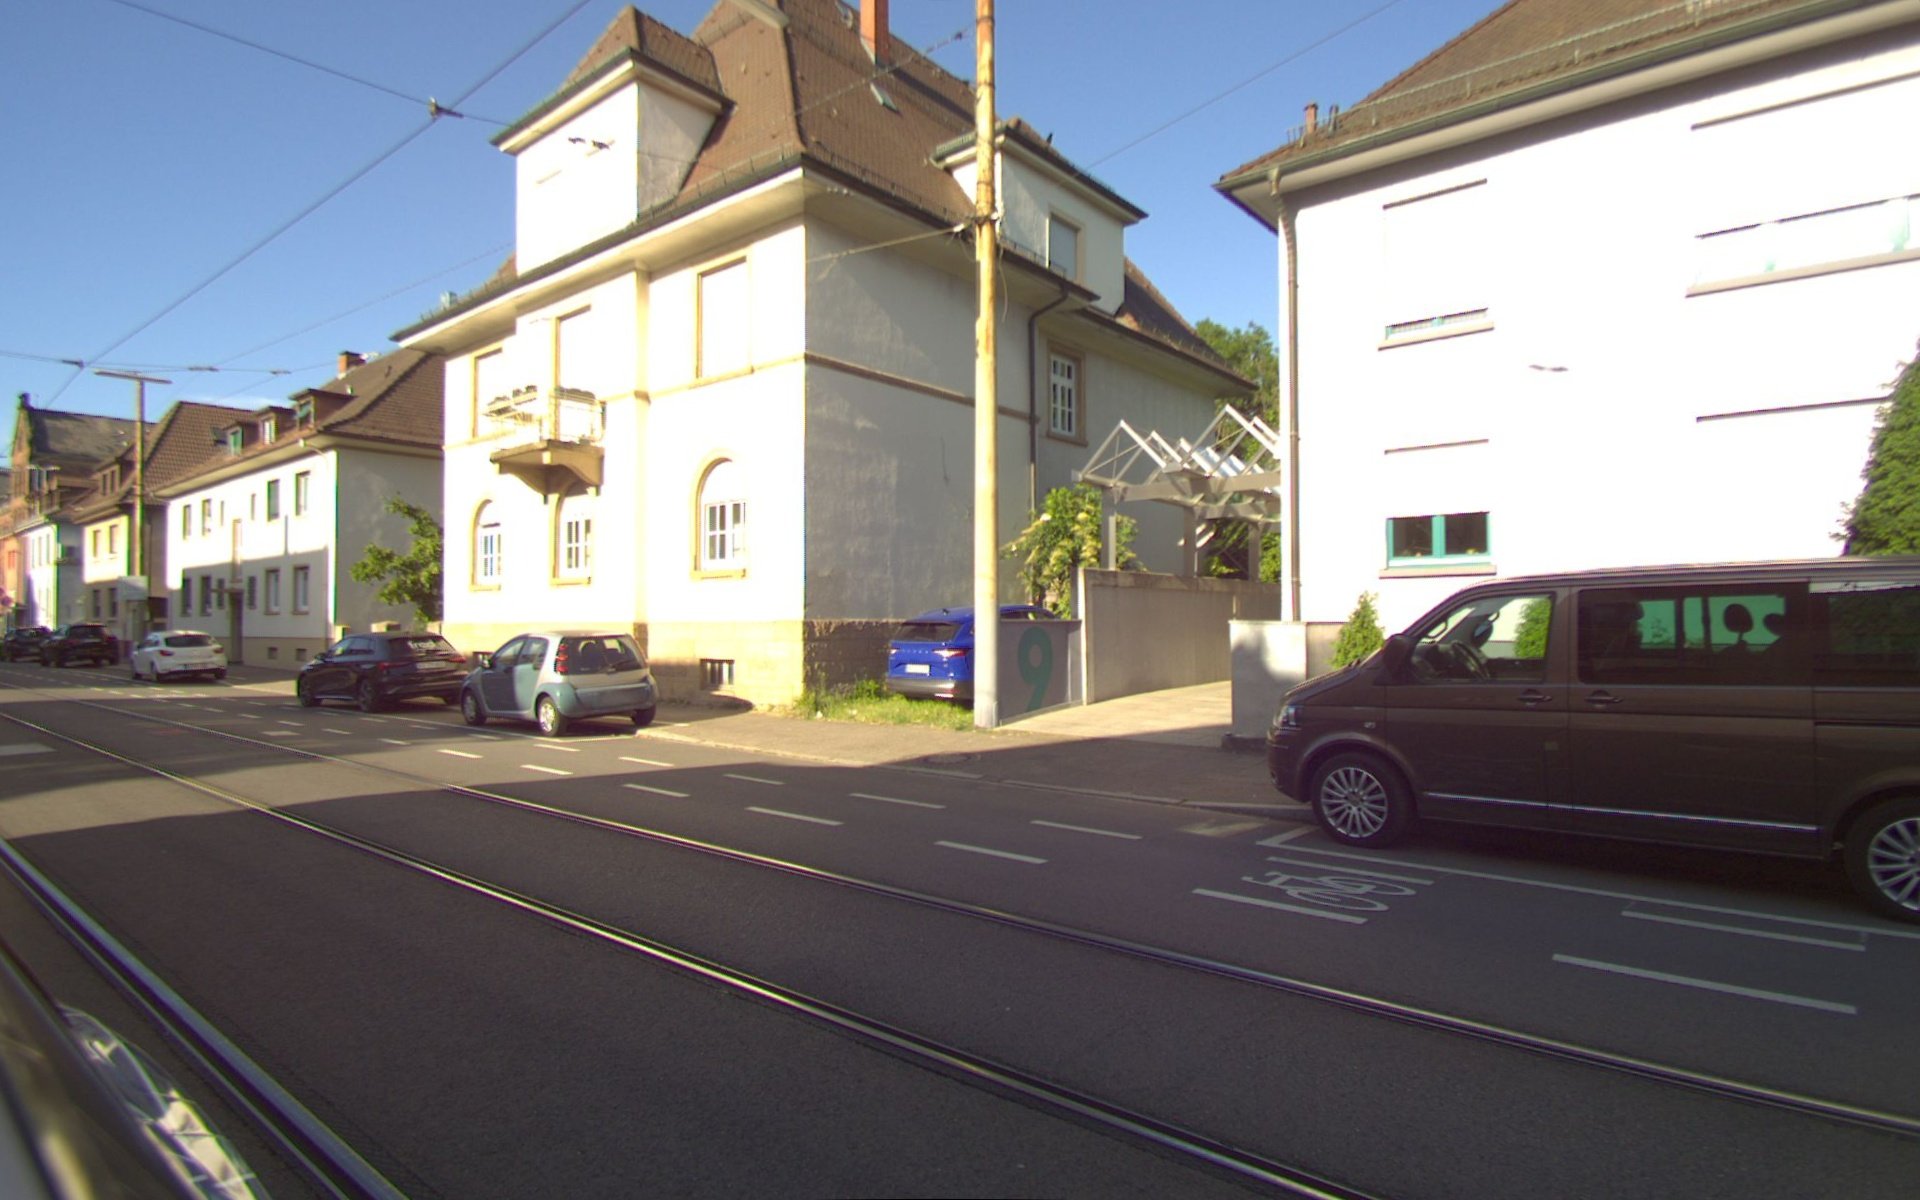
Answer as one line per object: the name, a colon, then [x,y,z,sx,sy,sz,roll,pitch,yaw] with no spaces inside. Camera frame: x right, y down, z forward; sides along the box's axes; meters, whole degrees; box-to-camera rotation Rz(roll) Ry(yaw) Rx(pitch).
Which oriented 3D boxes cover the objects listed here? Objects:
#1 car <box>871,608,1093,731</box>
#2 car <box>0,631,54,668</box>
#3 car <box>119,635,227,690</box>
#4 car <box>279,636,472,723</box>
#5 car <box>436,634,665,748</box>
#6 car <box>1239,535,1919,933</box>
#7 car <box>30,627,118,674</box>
car: [0.476,1.086,16.897,1.752,1.797,3.887,-2,-3,38]
car: [-43.023,2.260,46.389,3.917,1.640,1.599,-1,-3,39]
car: [-22.755,1.776,29.201,4.012,1.468,1.614,-1,-4,40]
car: [-11.299,1.447,19.478,4.242,1.488,1.648,-2,-2,36]
car: [-6.358,1.292,15.550,3.832,1.488,1.660,-2,-1,40]
car: [4.592,0.703,6.694,4.947,2.029,1.886,-2,-1,42]
car: [-34.073,1.915,38.894,4.550,1.718,1.744,-1,-3,39]
